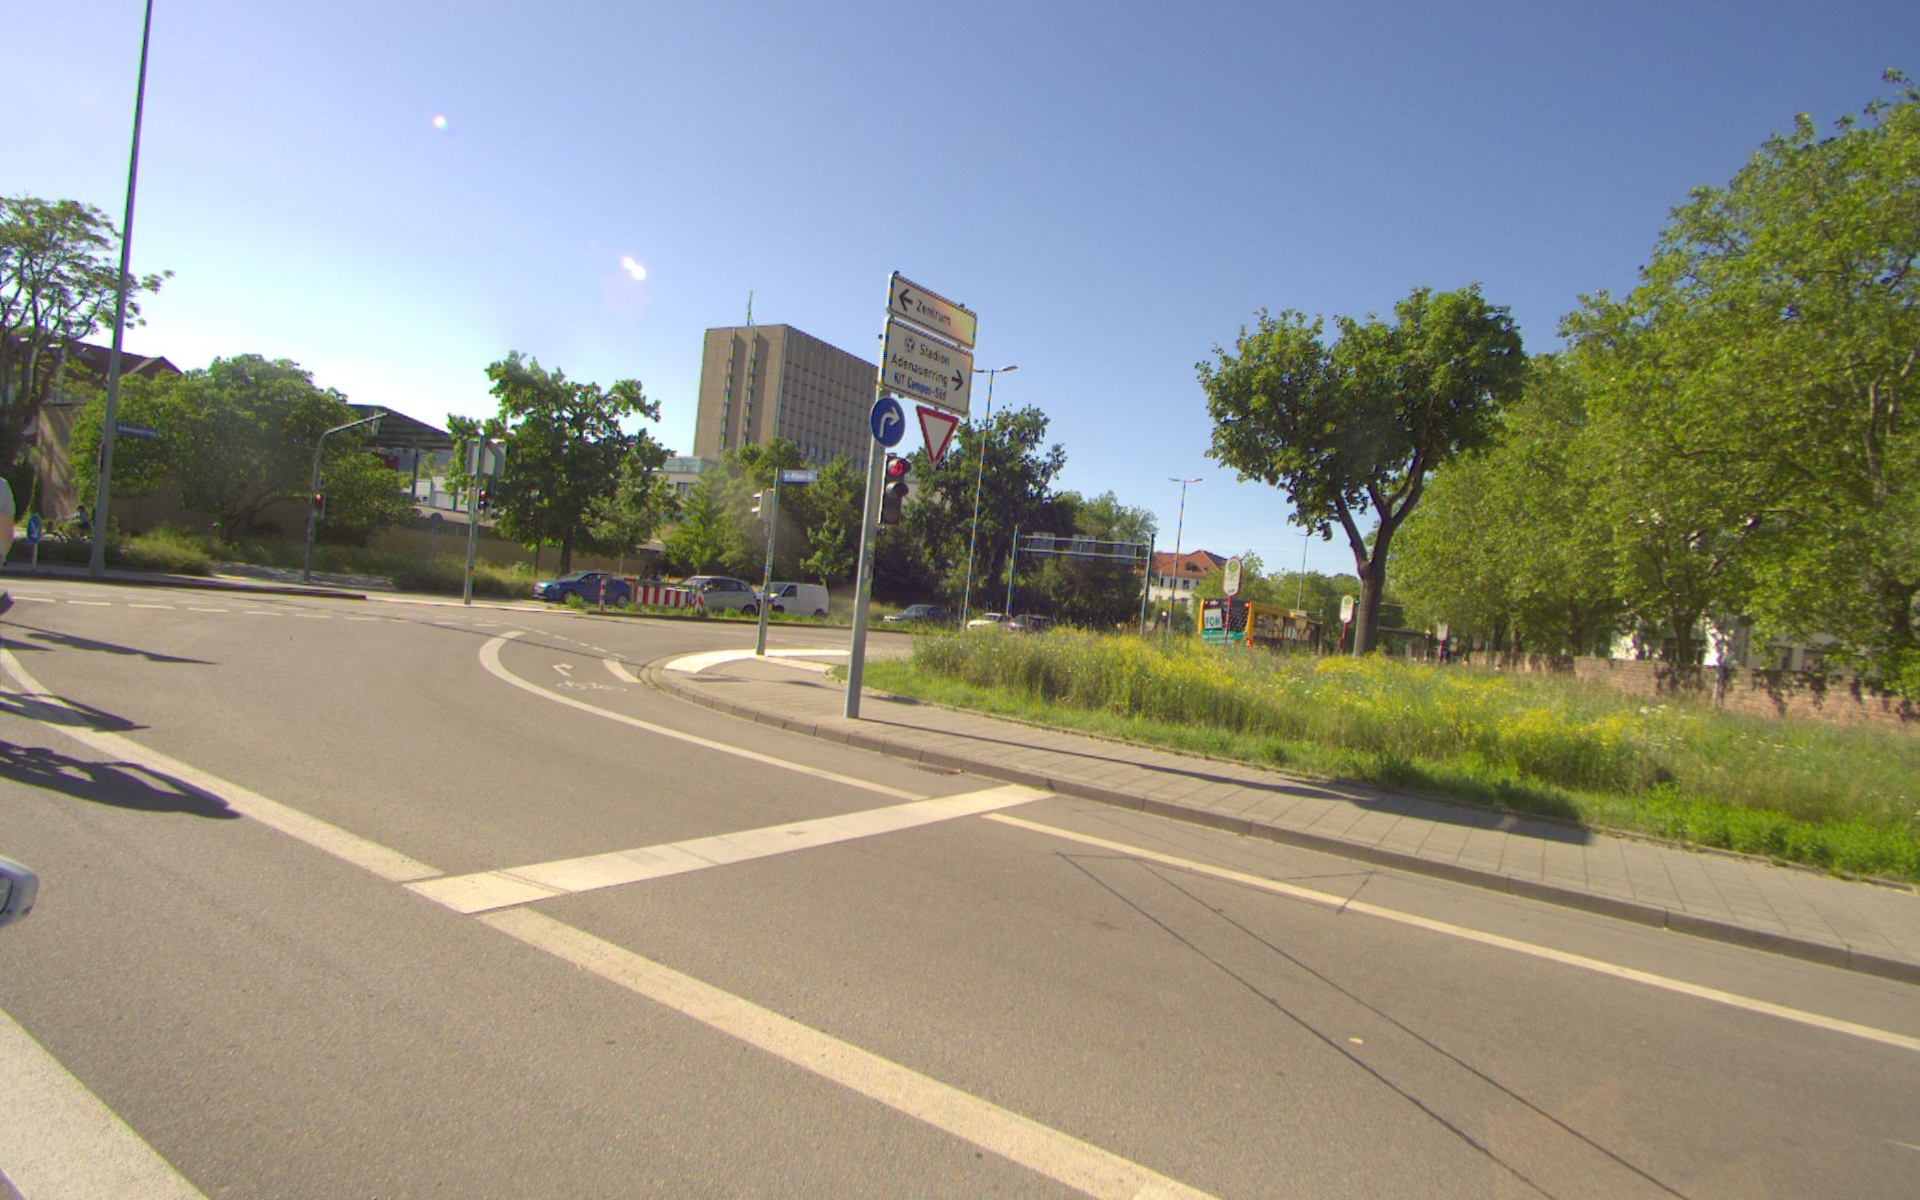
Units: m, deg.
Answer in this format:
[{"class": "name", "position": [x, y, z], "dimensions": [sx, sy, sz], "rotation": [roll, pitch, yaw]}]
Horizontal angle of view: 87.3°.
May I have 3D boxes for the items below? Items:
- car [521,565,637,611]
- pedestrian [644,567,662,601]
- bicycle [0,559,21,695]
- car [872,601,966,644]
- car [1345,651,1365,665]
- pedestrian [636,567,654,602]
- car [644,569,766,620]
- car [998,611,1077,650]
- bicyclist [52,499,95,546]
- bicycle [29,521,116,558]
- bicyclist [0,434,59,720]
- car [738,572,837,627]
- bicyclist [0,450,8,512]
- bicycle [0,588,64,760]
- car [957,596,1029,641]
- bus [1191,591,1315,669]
[{"class": "car", "position": [-15.746, -0.472, 41.769], "dimensions": [1.716, 1.453, 4.163], "rotation": [7, 0, 37]}, {"class": "pedestrian", "position": [-16.413, -0.843, 53.832], "dimensions": [0.519, 1.716, 0.561], "rotation": [7, 1, 35]}, {"class": "bicycle", "position": [-8.199, 0.092, 7.770], "dimensions": [1.935, 1.014, 0.661], "rotation": [6, -1, 26]}, {"class": "car", "position": [-1.897, 1.101, 48.177], "dimensions": [1.968, 1.604, 4.736], "rotation": [6, 0, 33]}, {"class": "car", "position": [48.540, 7.141, 123.575], "dimensions": [1.812, 1.405, 4.066], "rotation": [4, -2, 27]}, {"class": "pedestrian", "position": [-16.348, -0.802, 52.231], "dimensions": [0.519, 1.716, 0.561], "rotation": [7, 1, 35]}, {"class": "car", "position": [-9.429, -0.190, 37.425], "dimensions": [1.840, 1.426, 4.046], "rotation": [6, 0, 38]}, {"class": "car", "position": [3.466, 1.374, 44.317], "dimensions": [1.814, 1.404, 4.063], "rotation": [3, -3, 31]}, {"class": "bicyclist", "position": [-29.919, -2.616, 33.946], "dimensions": [0.590, 1.447, 0.935], "rotation": [7, 1, 40]}, {"class": "bicycle", "position": [-29.967, -2.045, 34.004], "dimensions": [0.590, 0.976, 2.074], "rotation": [7, 0, 39]}, {"class": "bicyclist", "position": [-6.219, -0.192, 6.086], "dimensions": [1.000, 1.688, 0.752], "rotation": [6, -1, 33]}, {"class": "car", "position": [-8.840, 0.017, 52.058], "dimensions": [1.969, 2.131, 4.884], "rotation": [6, -2, 35]}, {"class": "bicyclist", "position": [-8.133, -0.370, 7.775], "dimensions": [1.048, 1.759, 0.647], "rotation": [7, -1, 26]}, {"class": "bicycle", "position": [-6.290, 0.352, 6.086], "dimensions": [1.946, 0.906, 0.741], "rotation": [6, -2, 33]}, {"class": "car", "position": [2.096, 1.205, 62.649], "dimensions": [1.969, 2.186, 4.783], "rotation": [6, -2, 35]}, {"class": "bus", "position": [14.319, 1.582, 48.413], "dimensions": [2.751, 2.662, 10.097], "rotation": [6, -2, 33]}]
